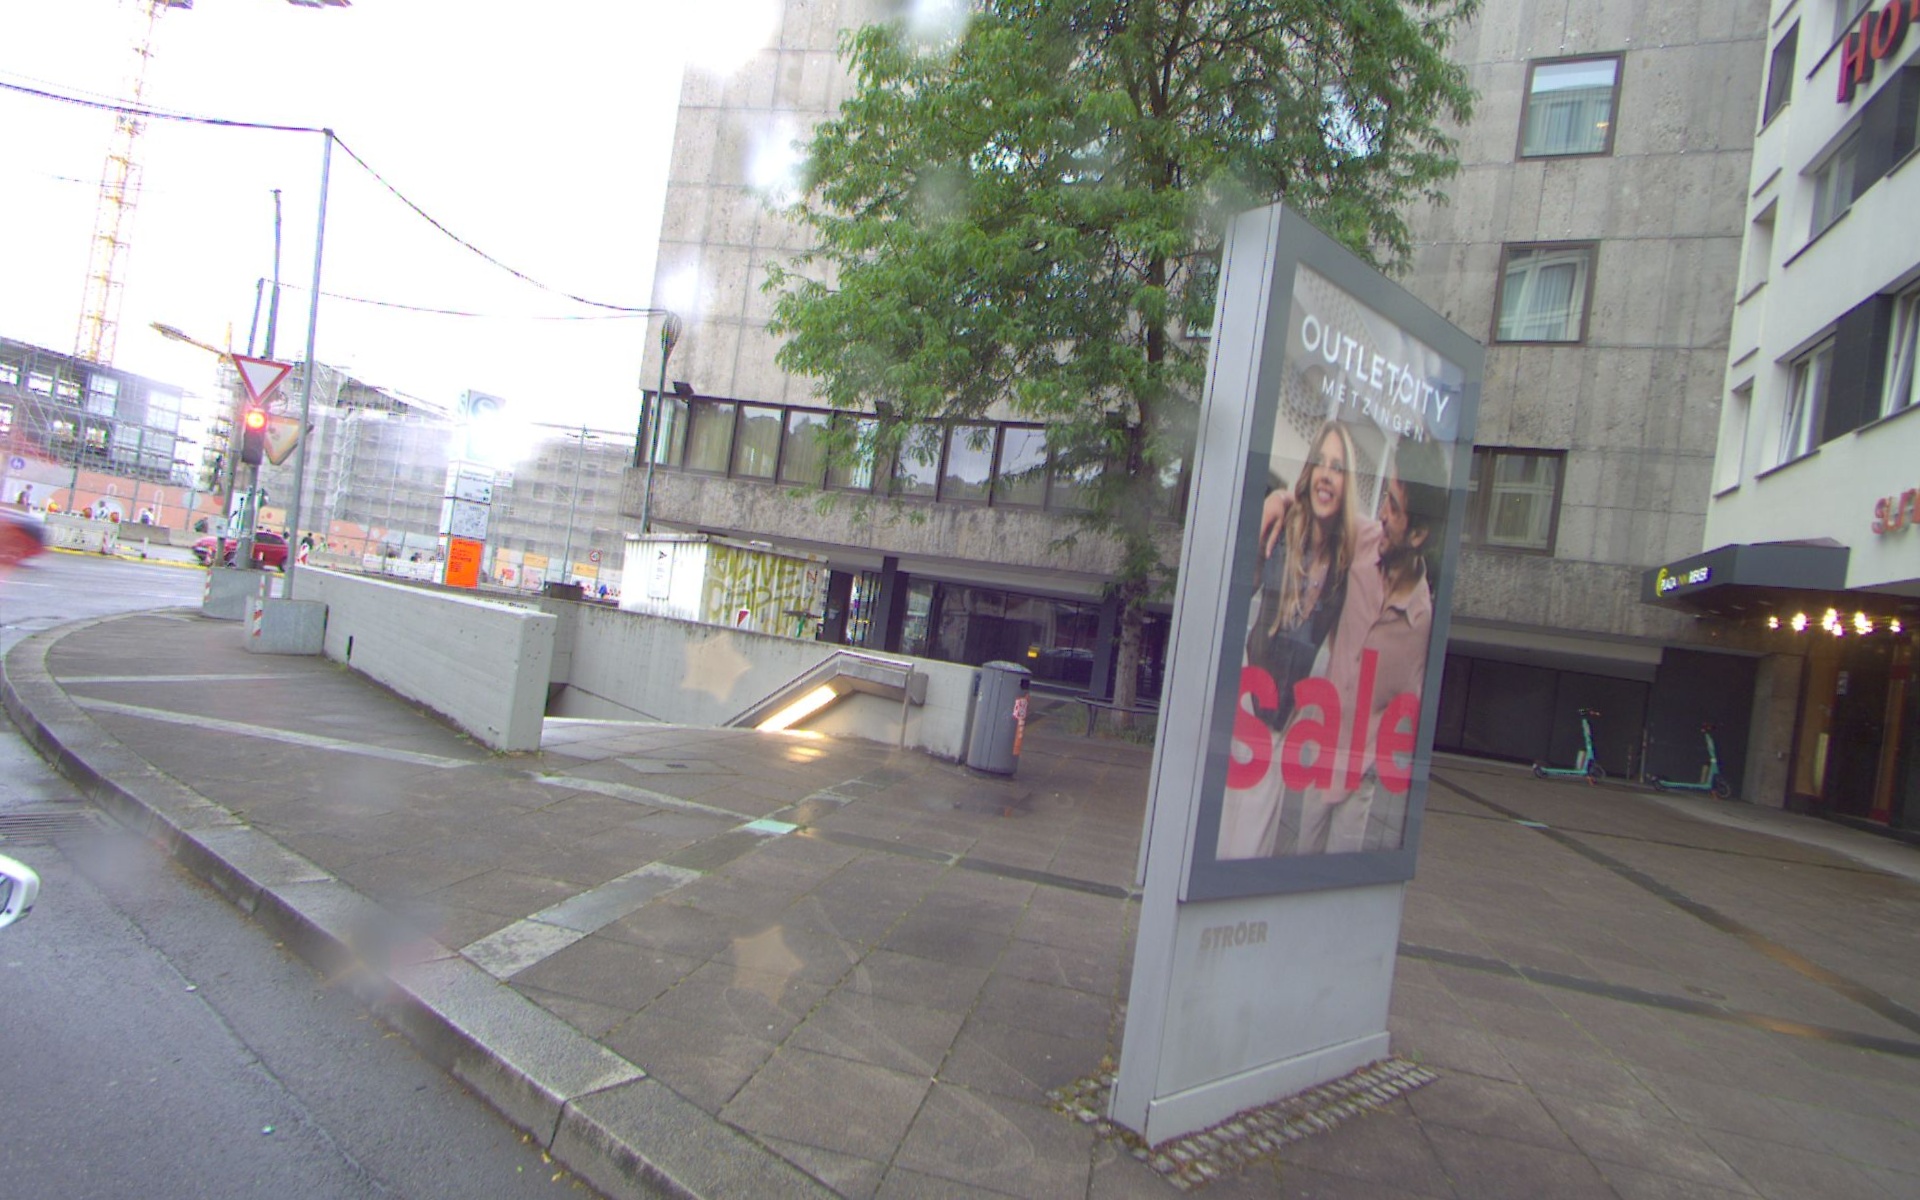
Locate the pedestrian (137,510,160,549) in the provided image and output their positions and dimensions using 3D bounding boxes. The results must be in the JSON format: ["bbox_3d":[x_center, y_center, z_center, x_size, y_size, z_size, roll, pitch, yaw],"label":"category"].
[{"bbox_3d":[-41.288,-3.585,51.170,0.355,1.919,0.577,7,-2,21],"label":"pedestrian"}]

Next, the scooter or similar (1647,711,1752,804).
[{"bbox_3d":[12.376,2.616,16.857,1.208,1.352,0.520,7,-2,19],"label":"scooter or similar"}]

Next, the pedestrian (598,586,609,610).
[{"bbox_3d":[-30.308,-0.153,85.581,0.355,1.919,0.577,7,-2,21],"label":"pedestrian"}]

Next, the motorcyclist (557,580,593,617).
[{"bbox_3d":[-16.016,-0.079,41.832,0.837,1.373,0.945,5,-3,41],"label":"motorcyclist"}]

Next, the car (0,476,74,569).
[{"bbox_3d":[-21.773,-1.965,20.496,1.963,1.817,5.109,6,-4,21],"label":"car"}]

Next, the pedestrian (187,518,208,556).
[{"bbox_3d":[-40.597,-3.341,53.590,0.355,1.919,0.577,7,-2,21],"label":"pedestrian"}]

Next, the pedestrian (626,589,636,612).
[{"bbox_3d":[-28.660,0.087,87.605,0.355,1.919,0.577,7,-2,21],"label":"pedestrian"}]

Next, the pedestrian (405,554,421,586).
[{"bbox_3d":[-35.052,-1.917,64.511,0.355,1.919,0.577,7,-2,21],"label":"pedestrian"}]

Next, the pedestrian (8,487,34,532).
[{"bbox_3d":[-42.620,-4.114,45.667,0.355,1.919,0.577,7,-2,21],"label":"pedestrian"}]

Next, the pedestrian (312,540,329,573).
[{"bbox_3d":[-39.240,-2.659,61.746,0.355,1.919,0.577,7,-2,21],"label":"pedestrian"}]

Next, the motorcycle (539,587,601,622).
[{"bbox_3d":[-16.150,0.191,41.712,0.839,1.120,2.136,5,-4,40],"label":"motorcycle"}]

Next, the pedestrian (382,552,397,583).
[{"bbox_3d":[-37.844,-2.153,66.720,0.355,1.919,0.577,7,-2,16],"label":"pedestrian"}]

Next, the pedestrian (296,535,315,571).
[{"bbox_3d":[-37.032,-2.655,56.910,0.355,1.919,0.577,7,-2,21],"label":"pedestrian"}]

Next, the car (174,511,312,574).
[{"bbox_3d":[-28.478,-2.235,40.117,1.962,1.727,4.008,7,-3,14],"label":"car"}]

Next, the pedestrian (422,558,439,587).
[{"bbox_3d":[-37.154,-1.905,70.564,0.579,1.919,0.634,7,-2,14],"label":"pedestrian"}]

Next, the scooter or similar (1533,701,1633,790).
[{"bbox_3d":[10.432,2.426,16.884,1.208,1.269,0.565,7,0,19],"label":"scooter or similar"}]

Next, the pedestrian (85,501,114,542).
[{"bbox_3d":[-43.525,-3.966,50.876,0.620,1.922,0.659,7,-2,18],"label":"pedestrian"}]

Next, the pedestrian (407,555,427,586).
[{"bbox_3d":[-36.050,-1.985,66.827,0.555,1.919,0.801,7,-2,17],"label":"pedestrian"}]
